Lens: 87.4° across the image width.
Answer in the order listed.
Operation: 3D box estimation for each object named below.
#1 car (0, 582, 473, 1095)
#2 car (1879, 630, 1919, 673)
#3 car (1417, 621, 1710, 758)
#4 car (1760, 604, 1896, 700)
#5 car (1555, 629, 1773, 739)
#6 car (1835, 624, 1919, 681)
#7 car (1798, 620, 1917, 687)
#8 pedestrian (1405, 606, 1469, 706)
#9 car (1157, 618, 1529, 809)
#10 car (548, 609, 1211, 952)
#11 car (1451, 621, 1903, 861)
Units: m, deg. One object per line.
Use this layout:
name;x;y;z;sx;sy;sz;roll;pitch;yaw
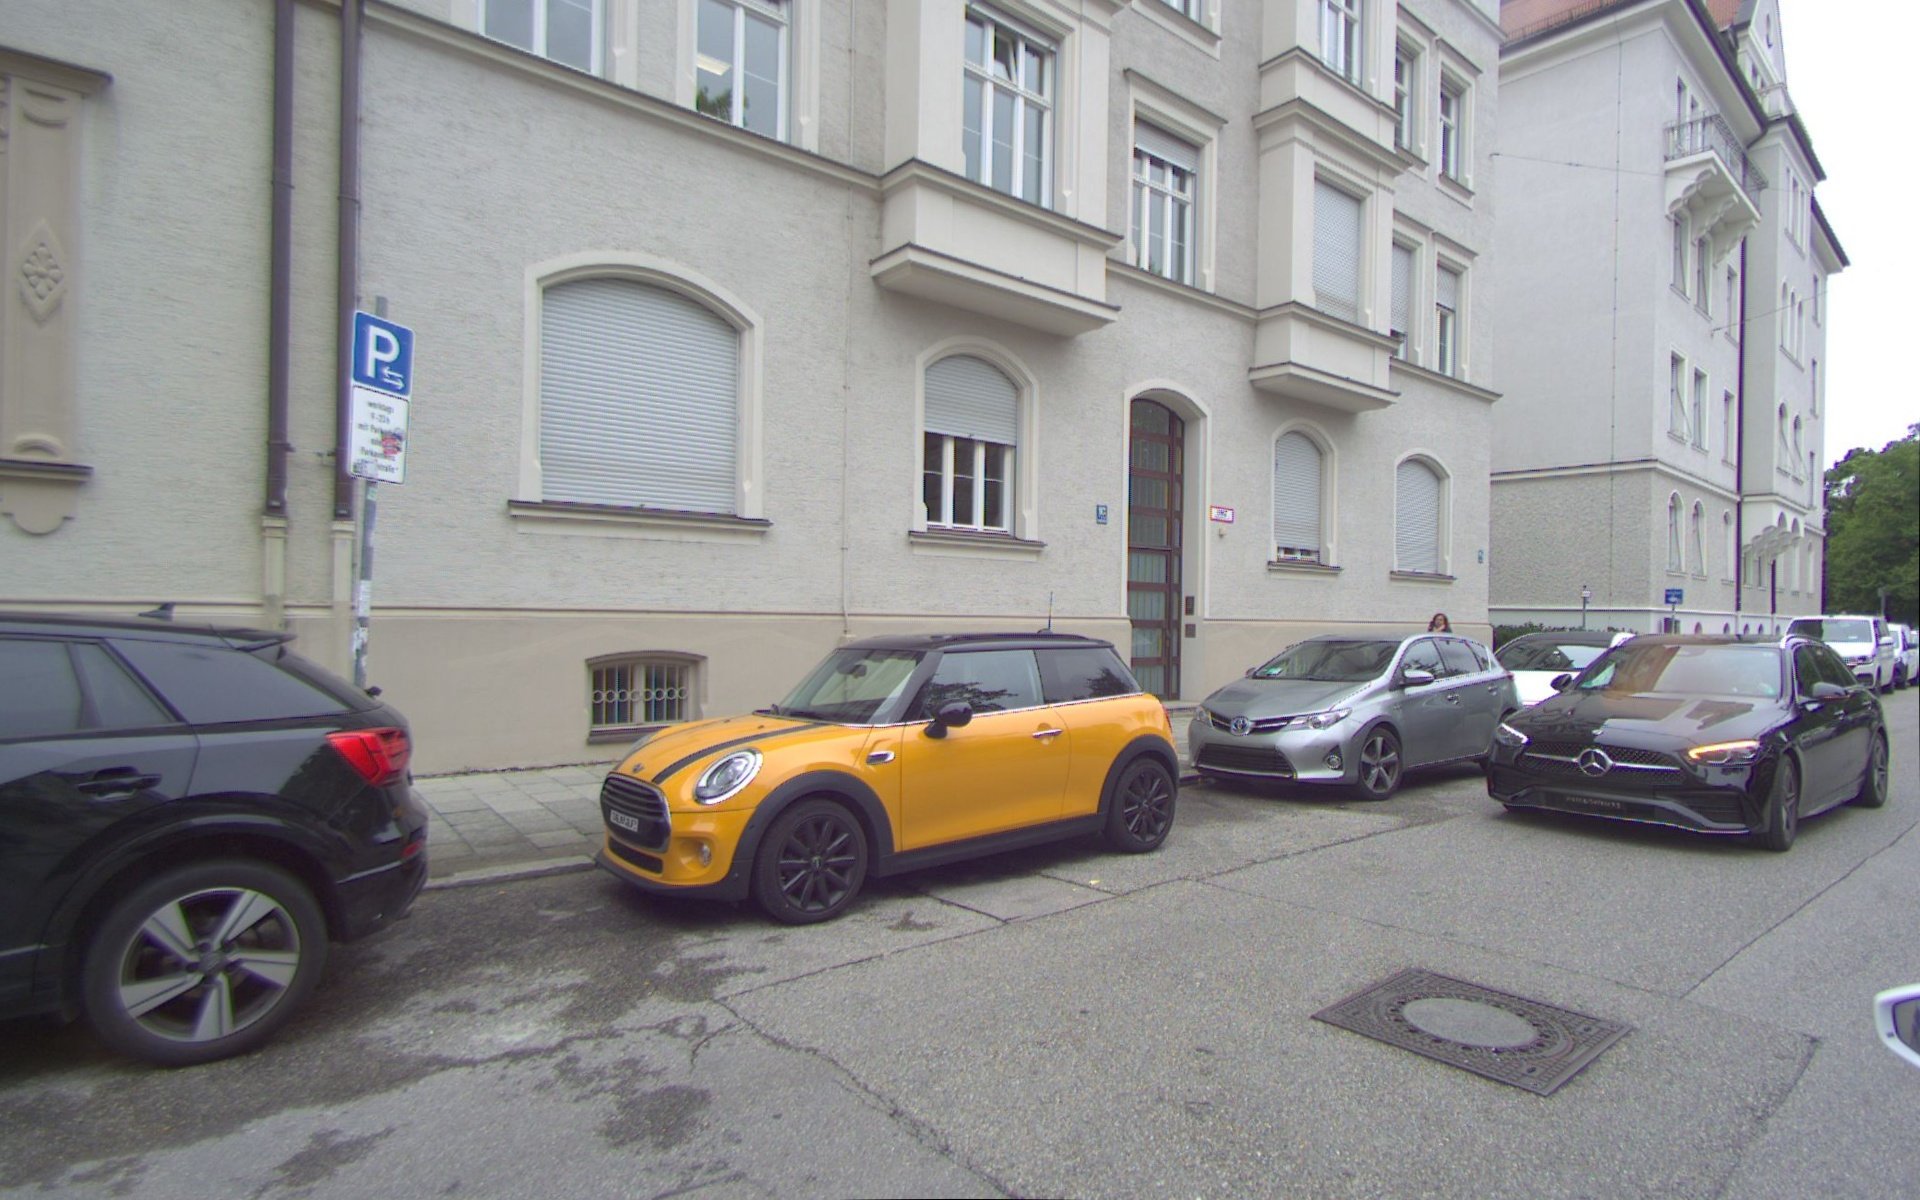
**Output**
car;-3.931;0.718;3.234;3.984;1.519;1.740;2;-3;-39
car;38.983;2.051;40.734;4.379;1.655;1.998;1;-3;-41
car;7.781;1.030;12.809;4.237;1.457;1.822;1;-3;-39
car;21.565;1.255;24.901;4.669;2.155;1.870;1;-3;-41
car;11.313;1.239;16.041;4.240;1.519;1.821;1;-3;-41
car;30.366;1.695;32.896;4.241;1.748;1.998;1;-3;-41
car;26.040;1.508;29.093;4.379;1.794;1.998;1;-3;-41
pedestrian;8.424;0.967;17.754;0.694;1.701;0.785;1;0;-39
car;3.880;0.977;9.924;3.896;1.519;1.712;2;-2;-39
car;-0.328;0.864;6.339;3.936;1.519;1.628;1;-3;-38
car;5.970;0.895;8.171;4.370;1.447;1.860;1;-1;-38
